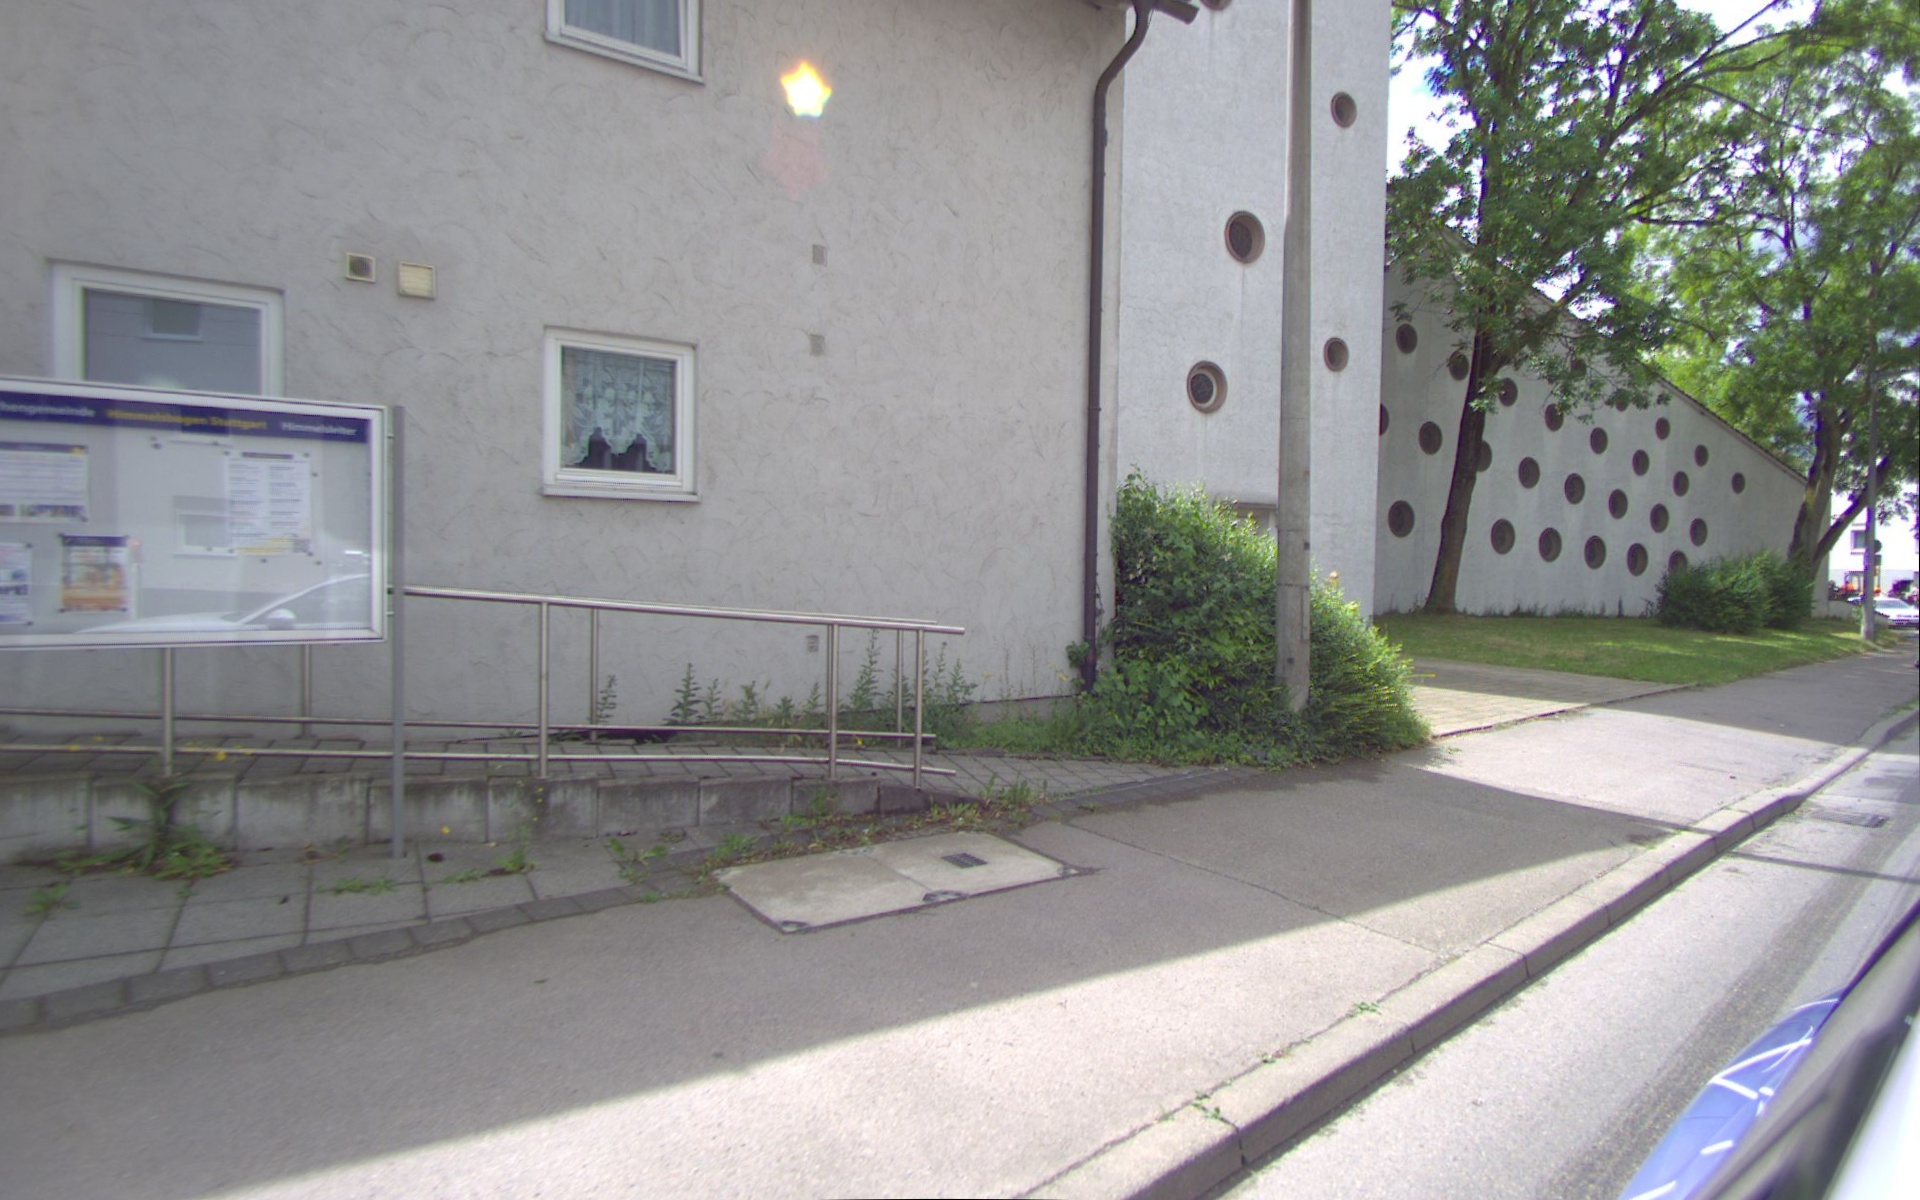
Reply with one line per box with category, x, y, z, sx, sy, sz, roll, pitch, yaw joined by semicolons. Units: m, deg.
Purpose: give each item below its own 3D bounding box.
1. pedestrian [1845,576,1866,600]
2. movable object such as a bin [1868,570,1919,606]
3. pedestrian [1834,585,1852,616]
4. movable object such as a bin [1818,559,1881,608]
pedestrian;48.123;-0.650;54.391;0.540;1.231;0.618;1;1;-2
movable object such as a bin;54.889;-0.710;58.539;1.960;2.038;2.971;1;1;-4
pedestrian;48.246;0.027;55.288;0.461;1.702;0.560;-1;1;-10
movable object such as a bin;48.416;-0.902;55.127;1.295;2.626;2.364;0;1;-2
